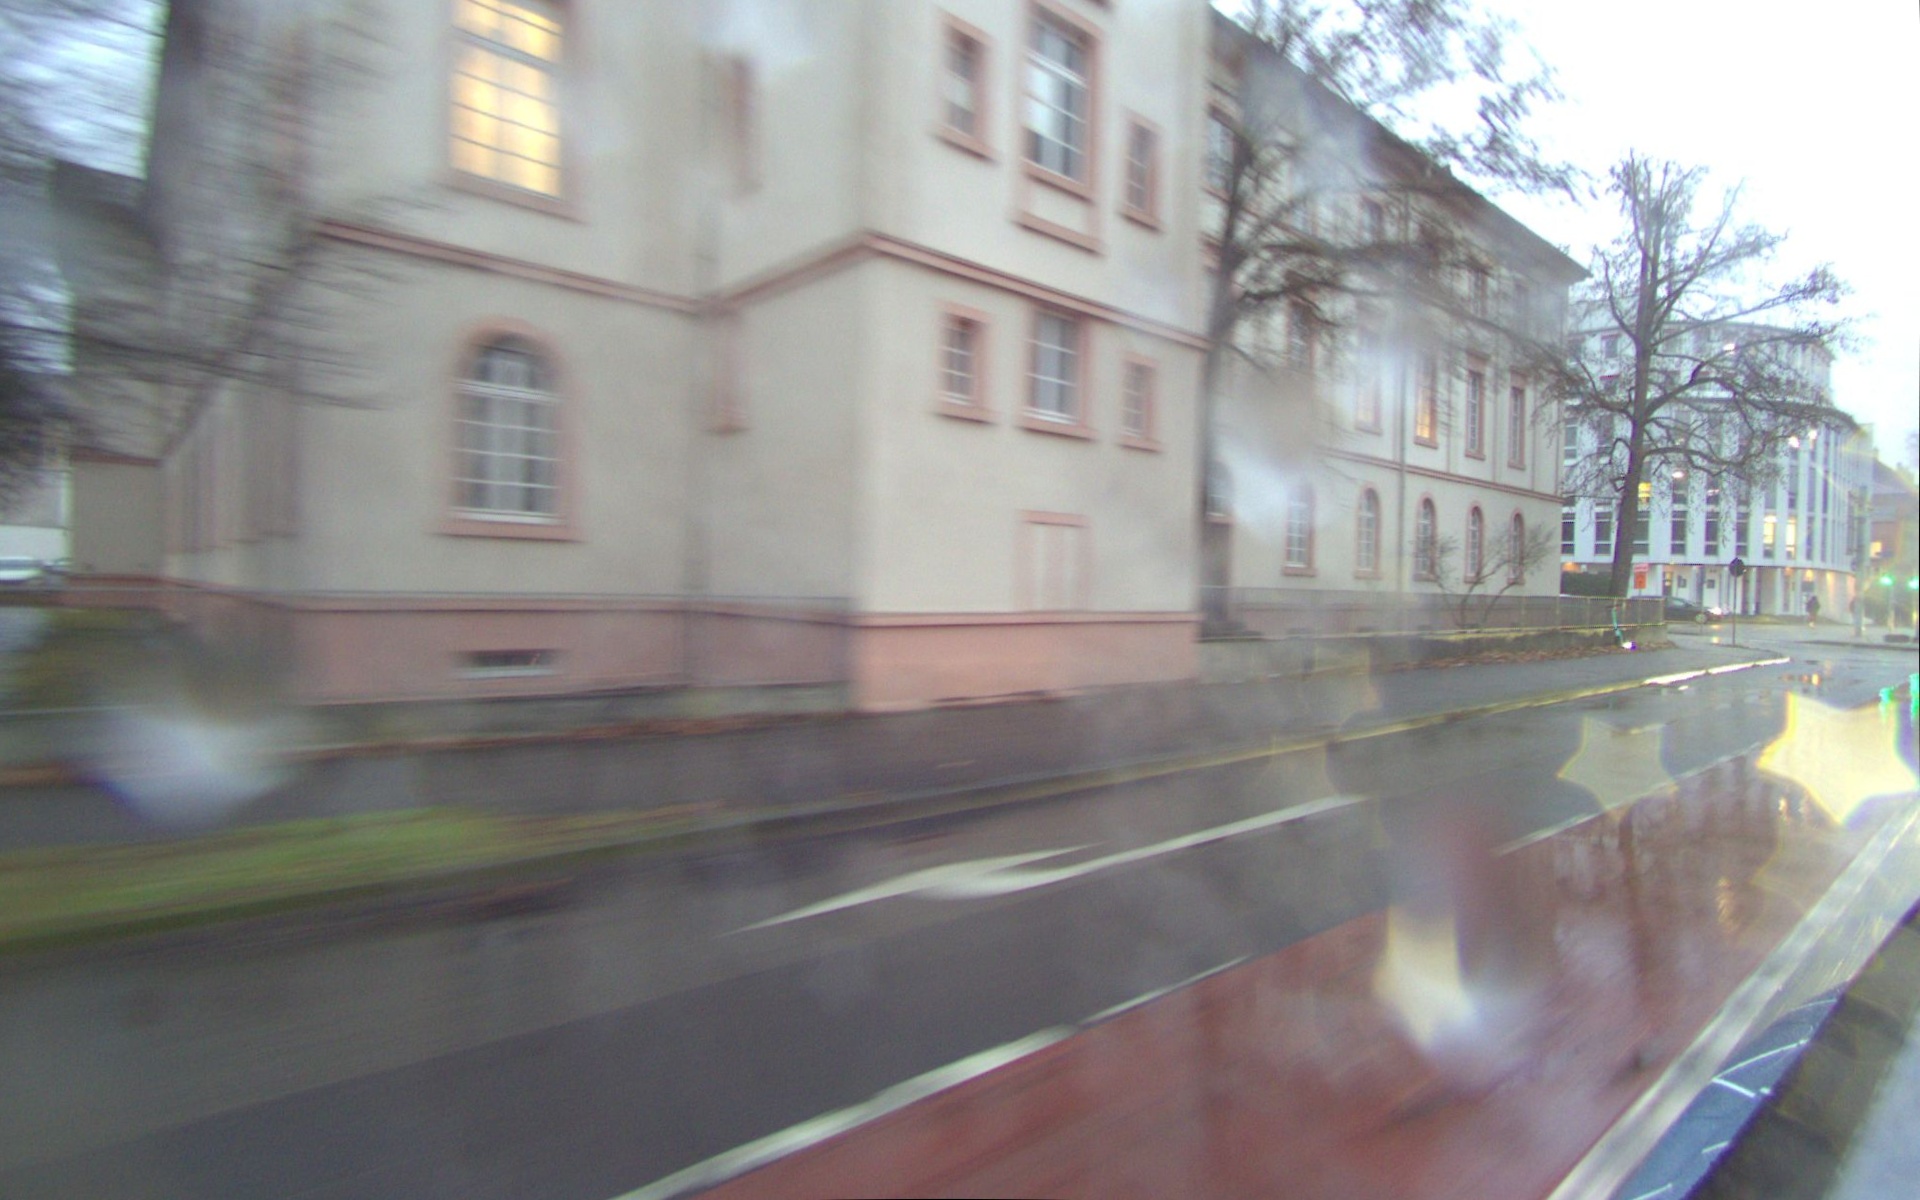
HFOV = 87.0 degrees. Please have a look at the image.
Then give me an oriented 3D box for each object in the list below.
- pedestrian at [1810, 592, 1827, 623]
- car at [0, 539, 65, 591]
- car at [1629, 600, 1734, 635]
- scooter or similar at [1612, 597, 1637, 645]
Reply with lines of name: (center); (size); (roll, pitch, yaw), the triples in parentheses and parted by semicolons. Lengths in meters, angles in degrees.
pedestrian: (44.376, 0.373, 52.300); (0.653, 1.609, 0.554); (1, 0, 40)
car: (-36.908, -1.325, 39.933); (1.827, 1.943, 4.100); (0, 0, -34)
car: (39.355, 0.924, 55.258); (4.546, 1.739, 1.701); (1, 0, 40)
scooter or similar: (17.299, 0.547, 26.335); (0.440, 1.219, 1.066); (1, 0, 39)
